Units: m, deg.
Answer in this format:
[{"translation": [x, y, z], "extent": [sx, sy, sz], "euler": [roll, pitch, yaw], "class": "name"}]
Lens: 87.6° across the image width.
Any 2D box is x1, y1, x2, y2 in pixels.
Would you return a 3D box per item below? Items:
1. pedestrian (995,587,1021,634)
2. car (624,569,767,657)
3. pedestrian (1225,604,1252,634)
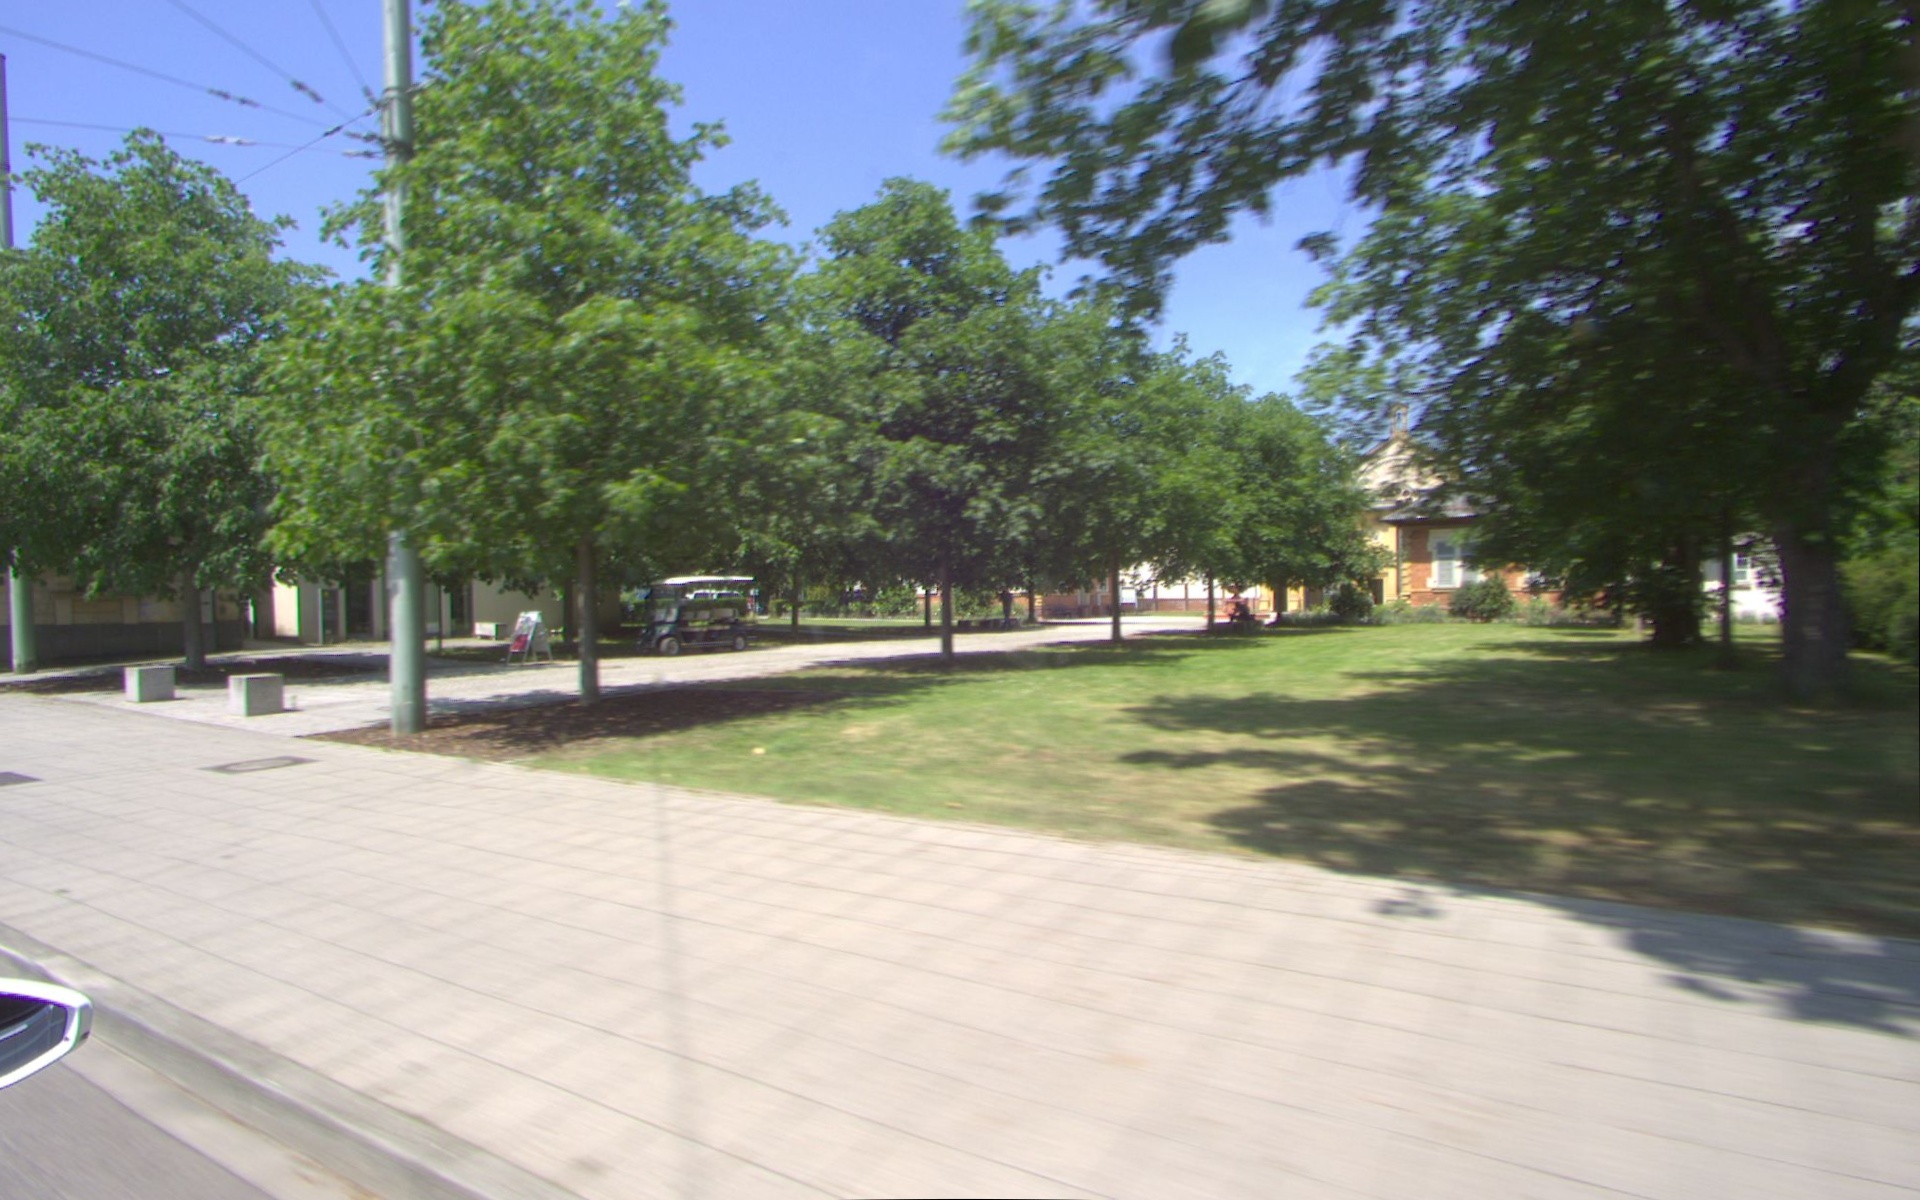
[{"translation": [1.896, 0.400, 39.591], "extent": [0.758, 1.817, 0.770], "euler": [0, 1, 31], "class": "pedestrian"}, {"translation": [-6.595, 0.308, 25.232], "extent": [1.444, 2.040, 3.323], "euler": [-1, 0, 33], "class": "car"}, {"translation": [10.691, 0.734, 38.427], "extent": [0.819, 1.129, 0.792], "euler": [0, 1, 33], "class": "pedestrian"}]
